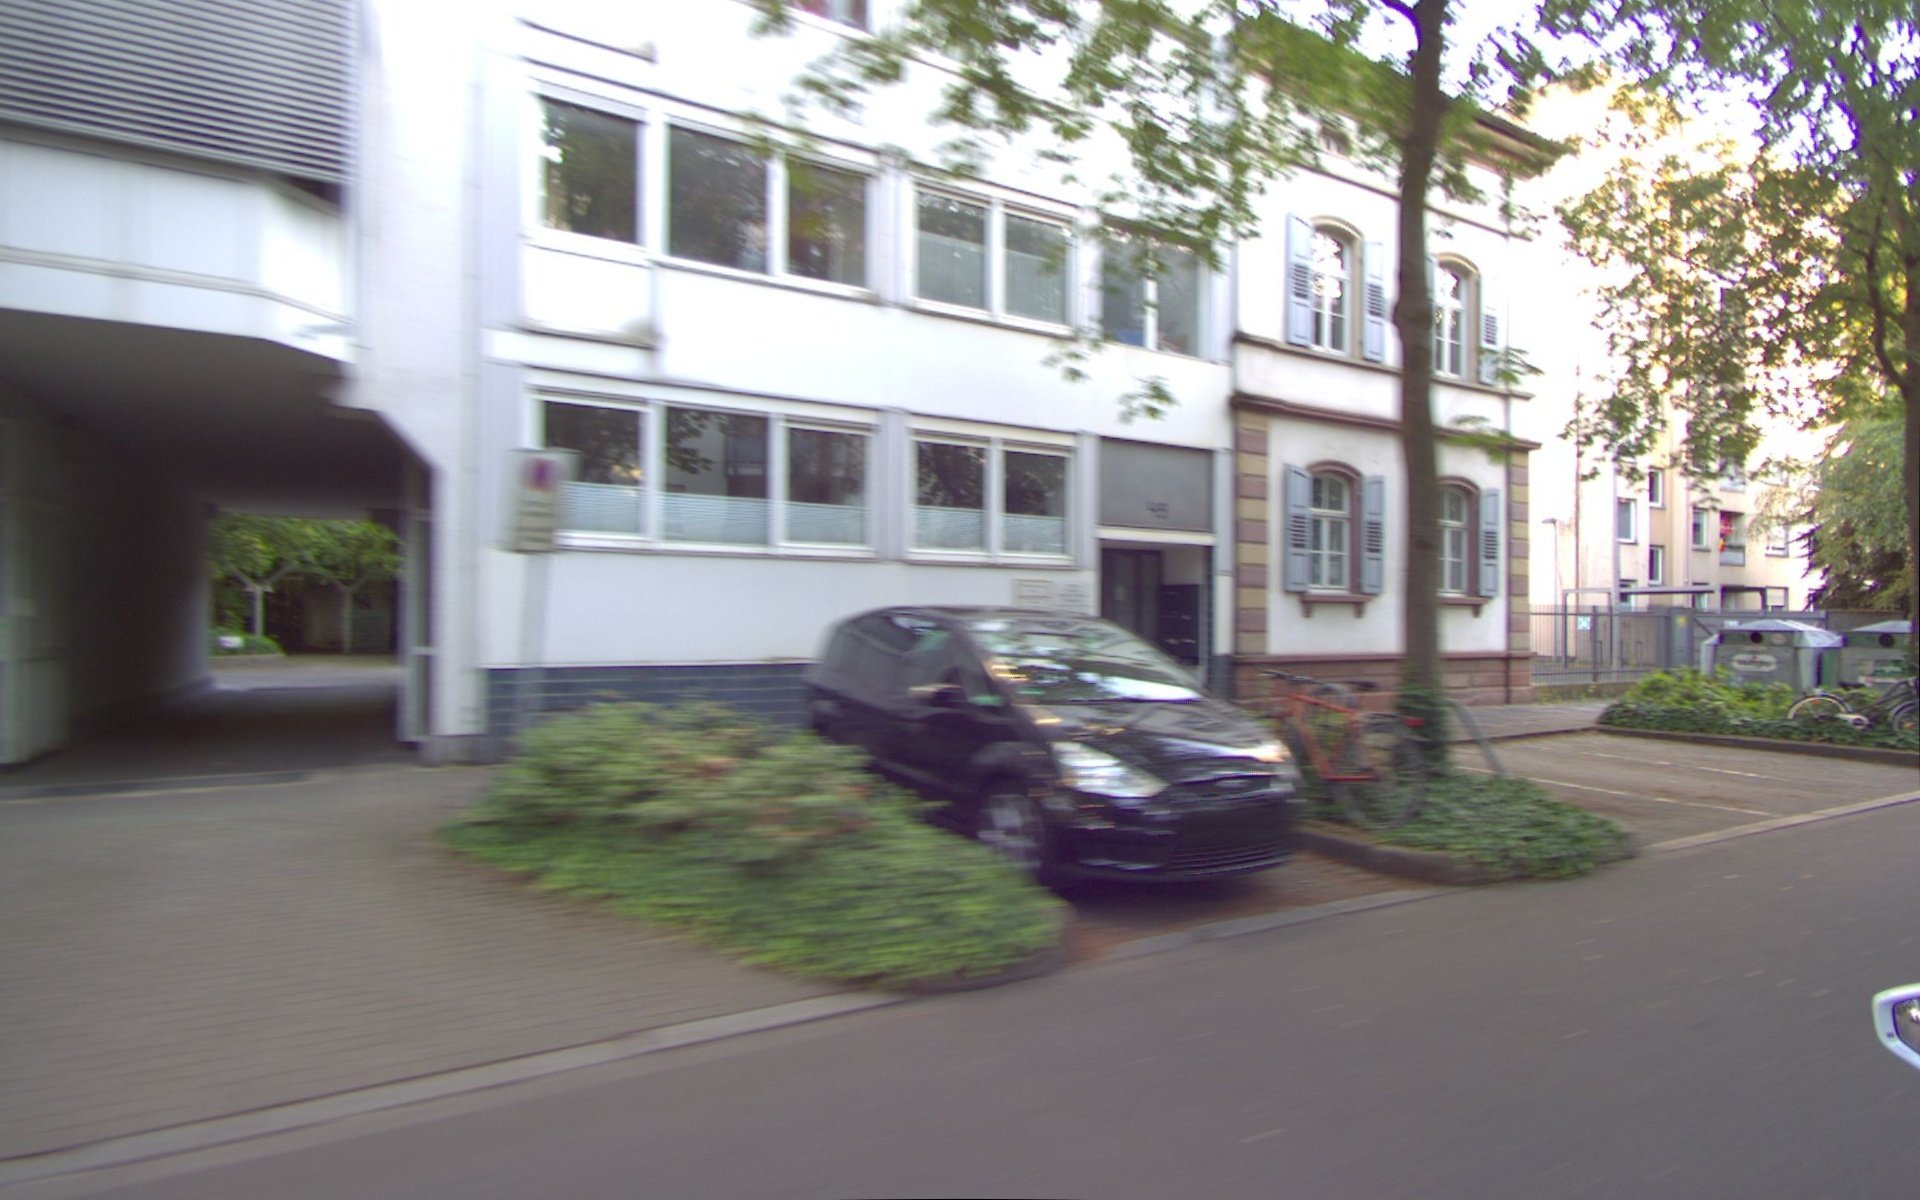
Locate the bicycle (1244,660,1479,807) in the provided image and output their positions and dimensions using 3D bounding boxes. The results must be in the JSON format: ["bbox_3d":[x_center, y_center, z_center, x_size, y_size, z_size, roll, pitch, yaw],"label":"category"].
[{"bbox_3d":[2.772,0.883,7.101,0.605,0.841,1.548,1,-1,-26],"label":"bicycle"}]

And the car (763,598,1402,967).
[{"bbox_3d":[0.361,0.858,7.135,2.133,1.643,4.833,1,-1,-28],"label":"car"}]

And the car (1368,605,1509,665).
[{"bbox_3d":[16.476,1.185,34.554,4.643,1.948,2.044,1,-1,-28],"label":"car"}]
